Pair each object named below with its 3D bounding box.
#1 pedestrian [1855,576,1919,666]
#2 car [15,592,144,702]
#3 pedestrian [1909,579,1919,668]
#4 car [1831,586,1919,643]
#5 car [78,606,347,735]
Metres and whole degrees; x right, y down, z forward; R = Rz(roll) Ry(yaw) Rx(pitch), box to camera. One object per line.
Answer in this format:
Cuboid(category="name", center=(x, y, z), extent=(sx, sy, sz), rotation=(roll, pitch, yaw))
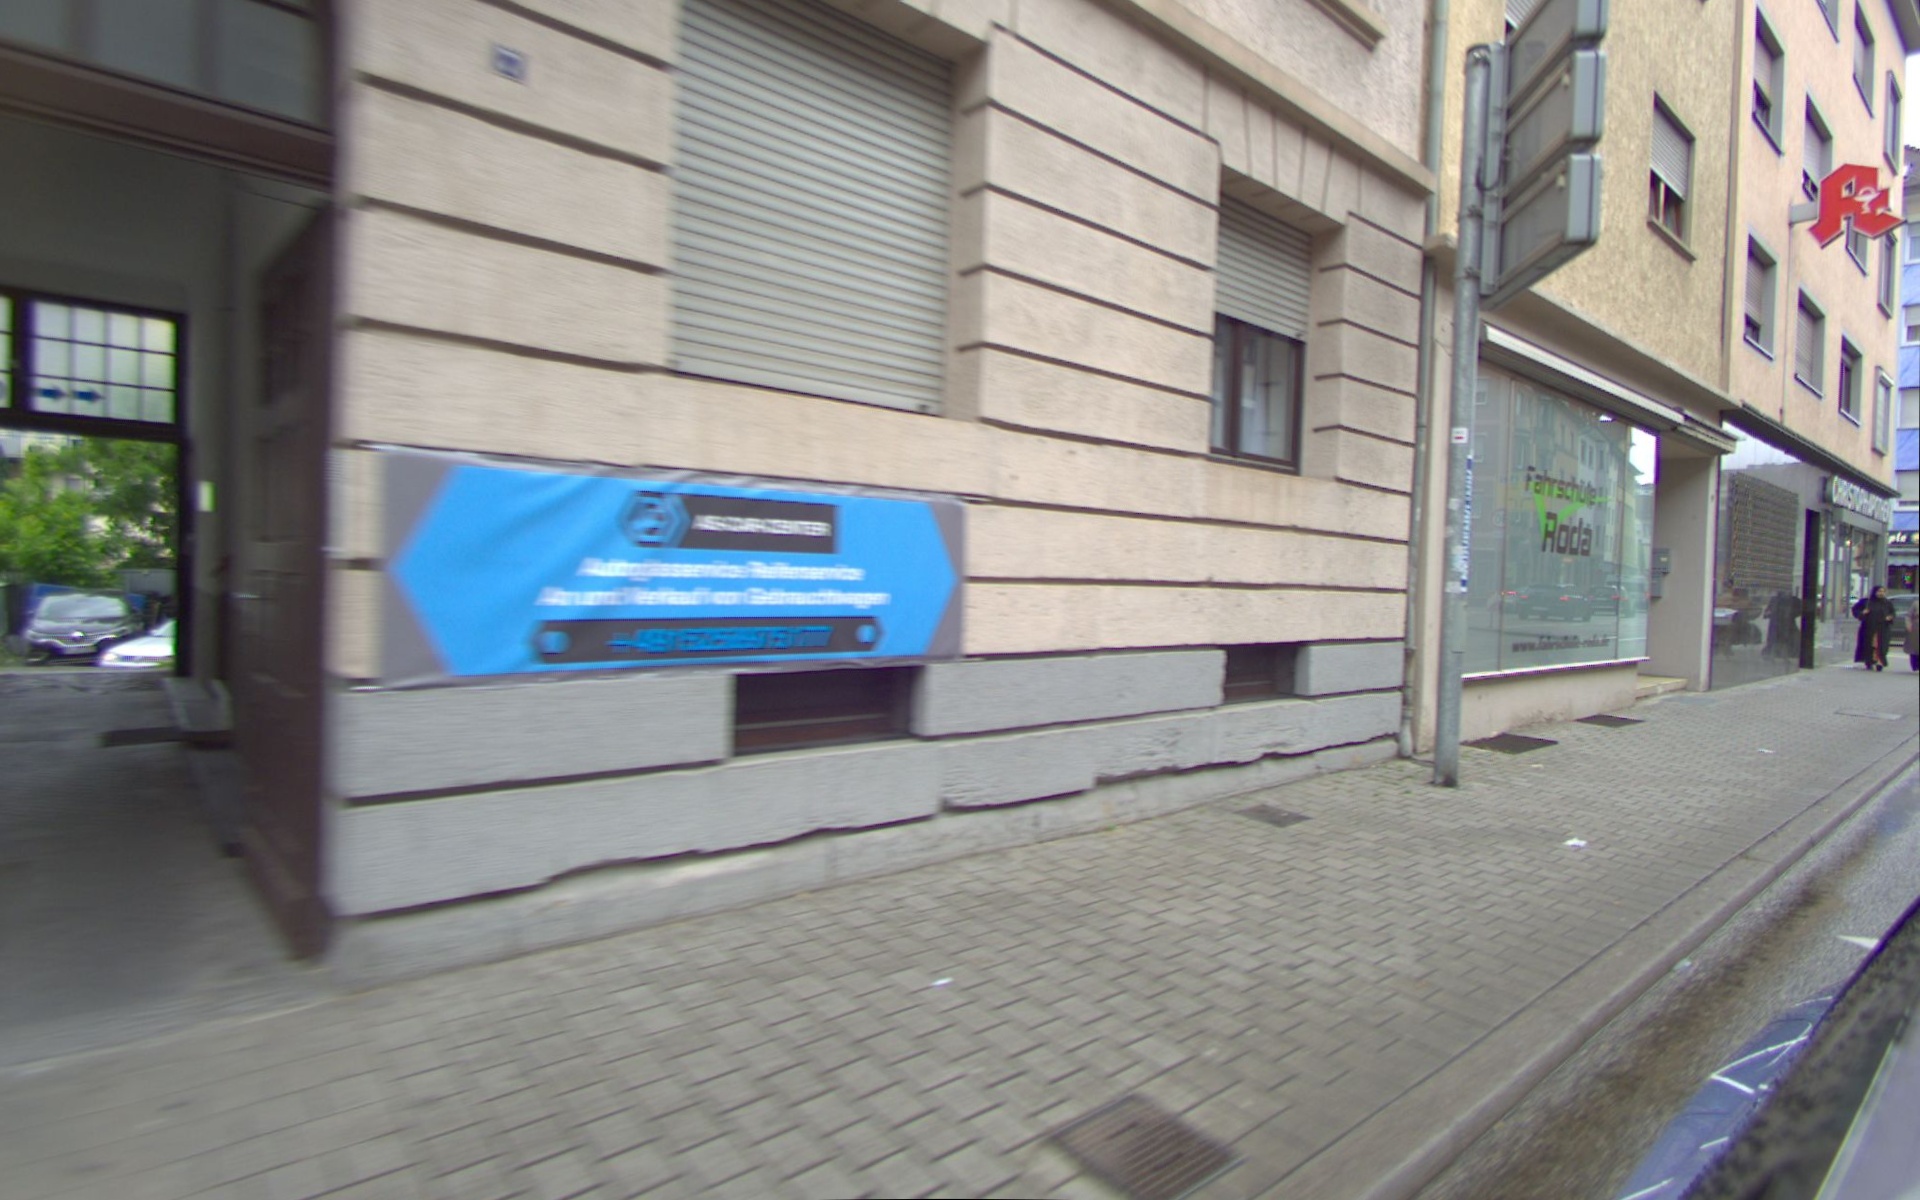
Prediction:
Cuboid(category="pedestrian", center=(16.941, 0.355, 18.482), extent=(0.861, 1.579, 0.769), rotation=(0, 2, -42))
Cuboid(category="car", center=(-19.314, 0.921, 22.362), extent=(1.964, 2.038, 3.997), rotation=(0, 3, -39))
Cuboid(category="pedestrian", center=(17.453, 0.426, 17.974), extent=(0.769, 1.579, 0.780), rotation=(0, 2, -42))
Cuboid(category="car", center=(28.821, 0.439, 30.274), extent=(1.900, 1.593, 3.839), rotation=(0, 2, -35))
Cuboid(category="car", center=(-14.034, 1.206, 19.120), extent=(3.930, 2.038, 1.998), rotation=(-1, 3, -41))
